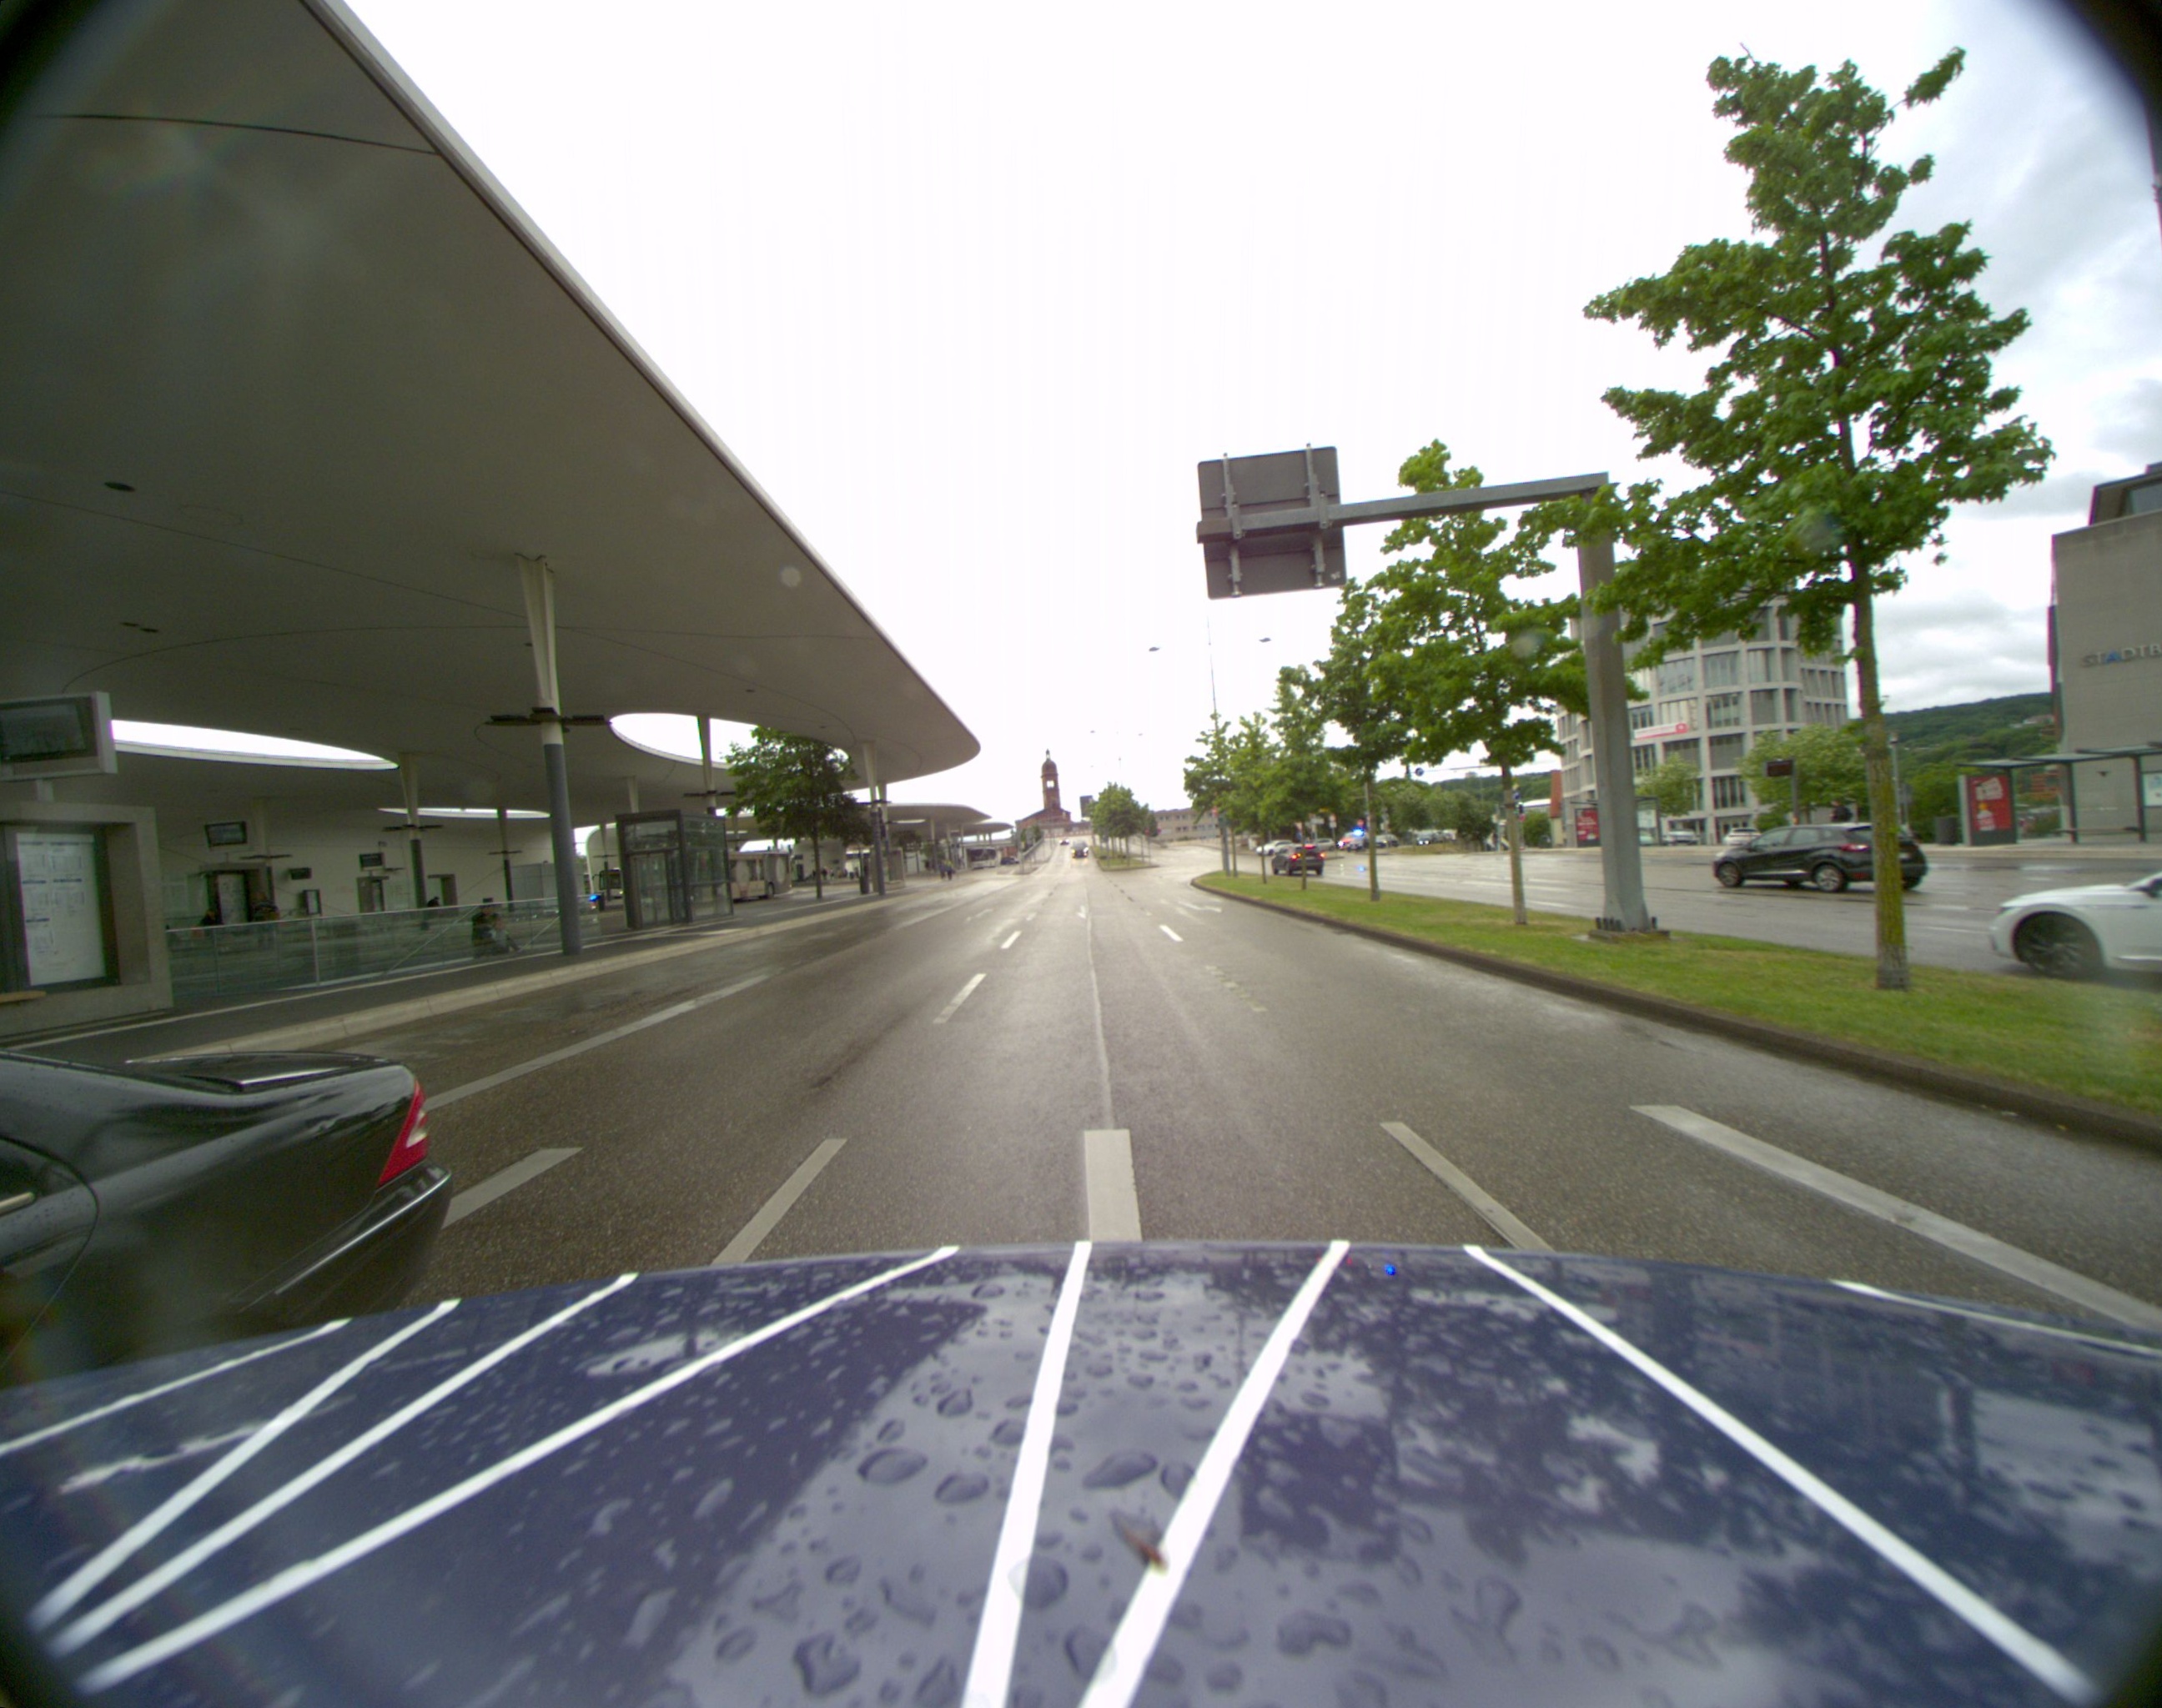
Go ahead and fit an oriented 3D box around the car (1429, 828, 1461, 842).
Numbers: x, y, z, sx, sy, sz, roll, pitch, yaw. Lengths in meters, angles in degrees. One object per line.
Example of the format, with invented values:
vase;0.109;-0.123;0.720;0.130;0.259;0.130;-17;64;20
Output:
car;48.104;-2.508;100.312;4.925;1.702;2.190;-3;1;-45

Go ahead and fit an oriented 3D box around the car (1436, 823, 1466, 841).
car;44.679;-2.651;91.649;1.995;2.002;4.007;-3;0;44

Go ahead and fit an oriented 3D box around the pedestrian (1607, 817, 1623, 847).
pedestrian;29.501;-1.220;42.010;0.504;1.625;0.502;-2;1;1

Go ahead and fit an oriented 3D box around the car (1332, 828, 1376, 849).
car;29.323;-1.670;81.432;5.043;2.002;2.304;-3;1;-43

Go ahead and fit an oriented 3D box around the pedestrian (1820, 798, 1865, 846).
pedestrian;29.006;-1.217;28.945;0.787;1.750;0.972;-3;1;-28

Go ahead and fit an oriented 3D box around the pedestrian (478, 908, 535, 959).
pedestrian;-11.746;1.616;15.554;0.622;0.957;0.638;-3;1;1

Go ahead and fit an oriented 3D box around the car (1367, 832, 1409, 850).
car;32.856;-1.391;81.301;4.925;1.702;2.190;-3;1;-43

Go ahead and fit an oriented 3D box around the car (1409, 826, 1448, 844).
car;38.606;-2.103;84.375;4.925;1.702;2.190;-3;1;-43

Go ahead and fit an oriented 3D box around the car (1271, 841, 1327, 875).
car;11.664;0.177;40.963;1.826;1.630;4.600;-3;0;3

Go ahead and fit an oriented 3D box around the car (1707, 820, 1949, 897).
car;17.443;0.079;18.070;1.775;1.522;4.078;-3;0;2

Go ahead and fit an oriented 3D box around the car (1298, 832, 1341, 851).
car;25.745;-1.374;82.064;4.004;1.783;1.996;-3;1;-24

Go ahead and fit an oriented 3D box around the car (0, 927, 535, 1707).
car;-2.858;1.162;0.298;1.750;1.472;4.434;-8;2;3

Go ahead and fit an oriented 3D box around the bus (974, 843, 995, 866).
bus;-14.309;0.054;113.262;2.675;3.111;9.712;-3;0;-5

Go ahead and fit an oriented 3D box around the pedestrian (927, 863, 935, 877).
pedestrian;-17.916;1.852;90.835;0.723;1.621;0.753;-3;1;0

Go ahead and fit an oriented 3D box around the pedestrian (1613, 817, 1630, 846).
pedestrian;30.050;-1.247;42.244;0.520;1.625;0.536;-2;1;1

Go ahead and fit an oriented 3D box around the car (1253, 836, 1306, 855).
car;20.773;-0.892;79.655;4.921;1.702;2.192;-3;1;-21

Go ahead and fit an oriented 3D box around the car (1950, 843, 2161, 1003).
car;10.612;0.627;6.115;1.728;1.373;4.859;-3;0;2

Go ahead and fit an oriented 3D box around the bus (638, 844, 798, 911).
bus;-19.776;1.085;42.754;3.003;3.088;12.353;-3;0;0

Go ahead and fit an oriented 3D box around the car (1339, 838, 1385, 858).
car;27.793;-0.574;75.034;4.925;1.702;2.190;-3;1;-43

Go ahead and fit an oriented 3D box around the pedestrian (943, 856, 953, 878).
pedestrian;-10.094;0.986;57.640;0.576;1.614;0.588;-3;1;1

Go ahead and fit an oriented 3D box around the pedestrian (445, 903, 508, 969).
pedestrian;-12.381;1.664;15.580;0.693;1.244;0.669;-3;1;1

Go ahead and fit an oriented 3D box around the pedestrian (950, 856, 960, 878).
pedestrian;-9.577;0.960;57.730;0.557;1.614;0.552;-3;1;1

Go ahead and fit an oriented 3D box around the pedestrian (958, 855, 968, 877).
pedestrian;-8.959;0.935;57.631;0.557;1.614;0.552;-3;1;1

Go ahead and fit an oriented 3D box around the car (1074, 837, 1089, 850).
car;0.071;-1.383;101.402;1.704;1.656;3.998;-3;1;-2

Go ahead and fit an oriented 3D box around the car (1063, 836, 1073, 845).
car;-2.530;-2.577;147.188;1.704;1.656;3.998;-3;1;-2
